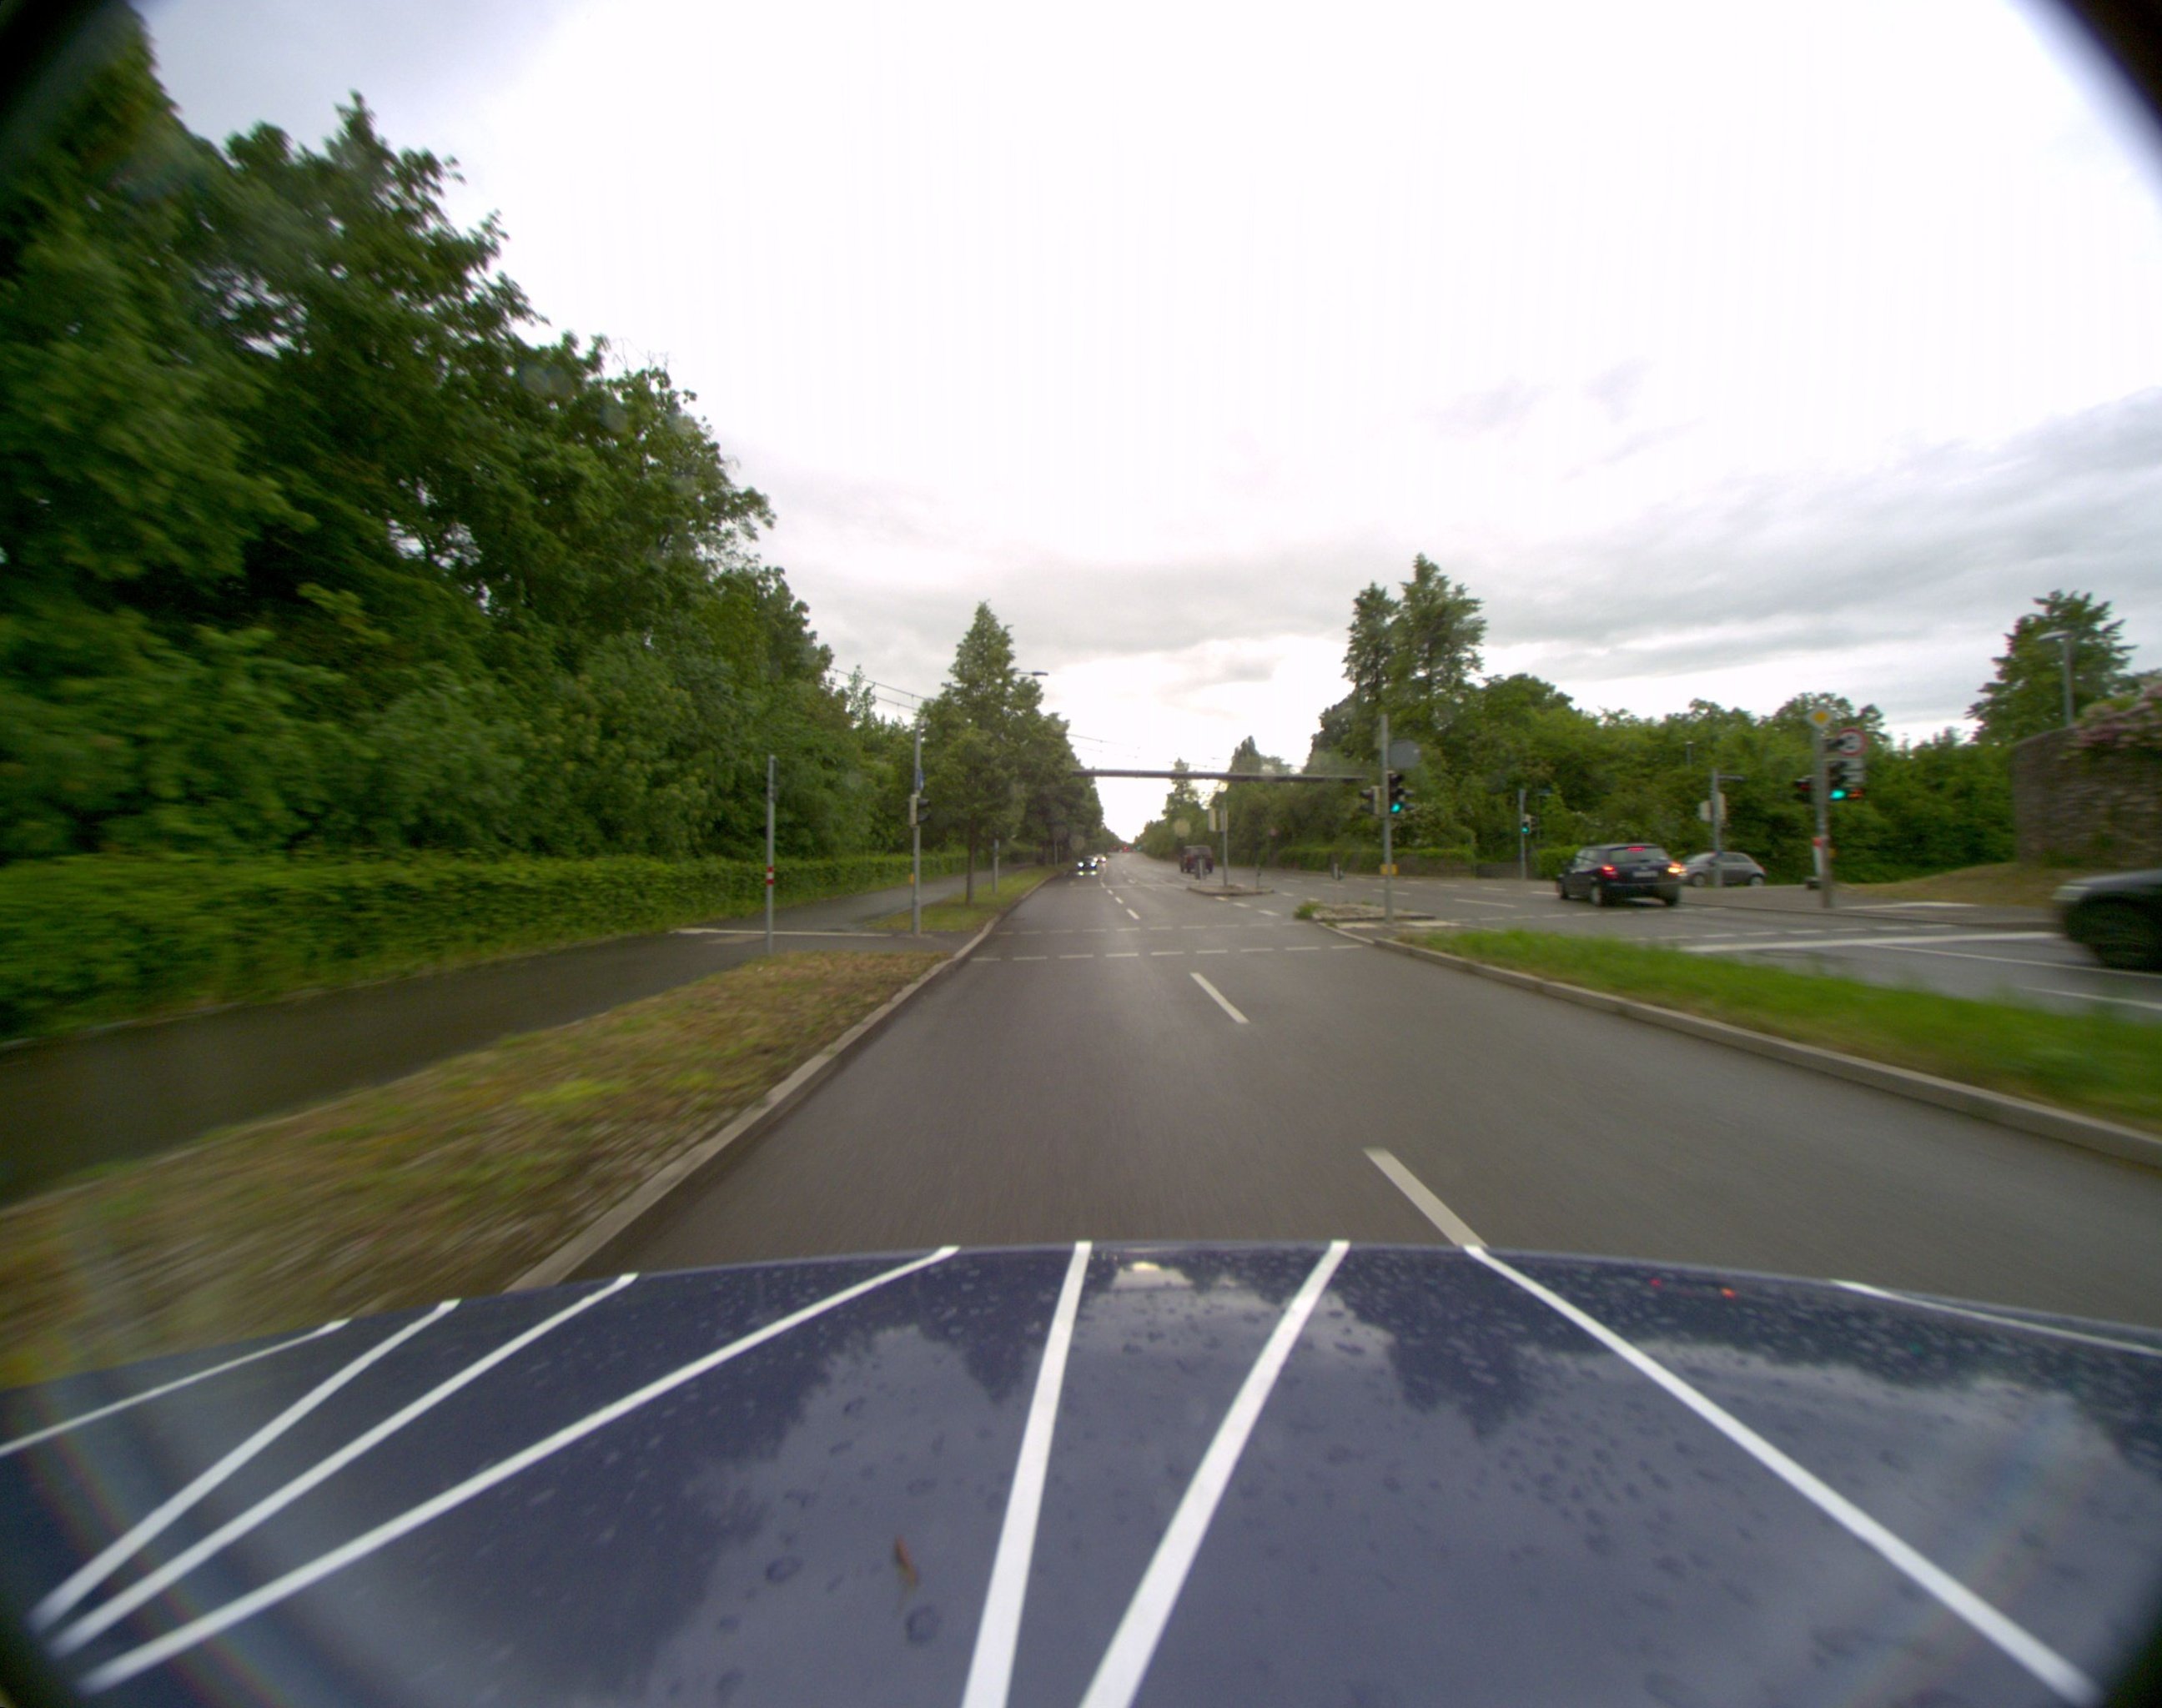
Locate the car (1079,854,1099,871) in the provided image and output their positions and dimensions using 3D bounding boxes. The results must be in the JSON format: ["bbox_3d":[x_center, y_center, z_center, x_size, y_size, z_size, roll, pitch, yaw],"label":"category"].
[{"bbox_3d":[0.781,0.790,74.476,1.824,1.547,4.000,-1,1,3],"label":"car"}]

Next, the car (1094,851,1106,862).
[{"bbox_3d":[3.170,0.406,126.490,1.824,1.547,3.999,-2,1,1],"label":"car"}]

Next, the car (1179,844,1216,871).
[{"bbox_3d":[8.765,0.211,57.347,2.018,1.908,5.095,-2,0,1],"label":"car"}]

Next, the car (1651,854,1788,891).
[{"bbox_3d":[25.805,0.756,30.813,3.995,1.464,1.693,0,-1,5],"label":"car"}]

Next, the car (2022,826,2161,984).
[{"bbox_3d":[11.973,0.506,6.503,1.886,1.586,4.766,-2,0,-1],"label":"car"}]

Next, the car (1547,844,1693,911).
[{"bbox_3d":[13.244,0.521,18.946,1.600,1.481,4.004,-1,0,14],"label":"car"}]
